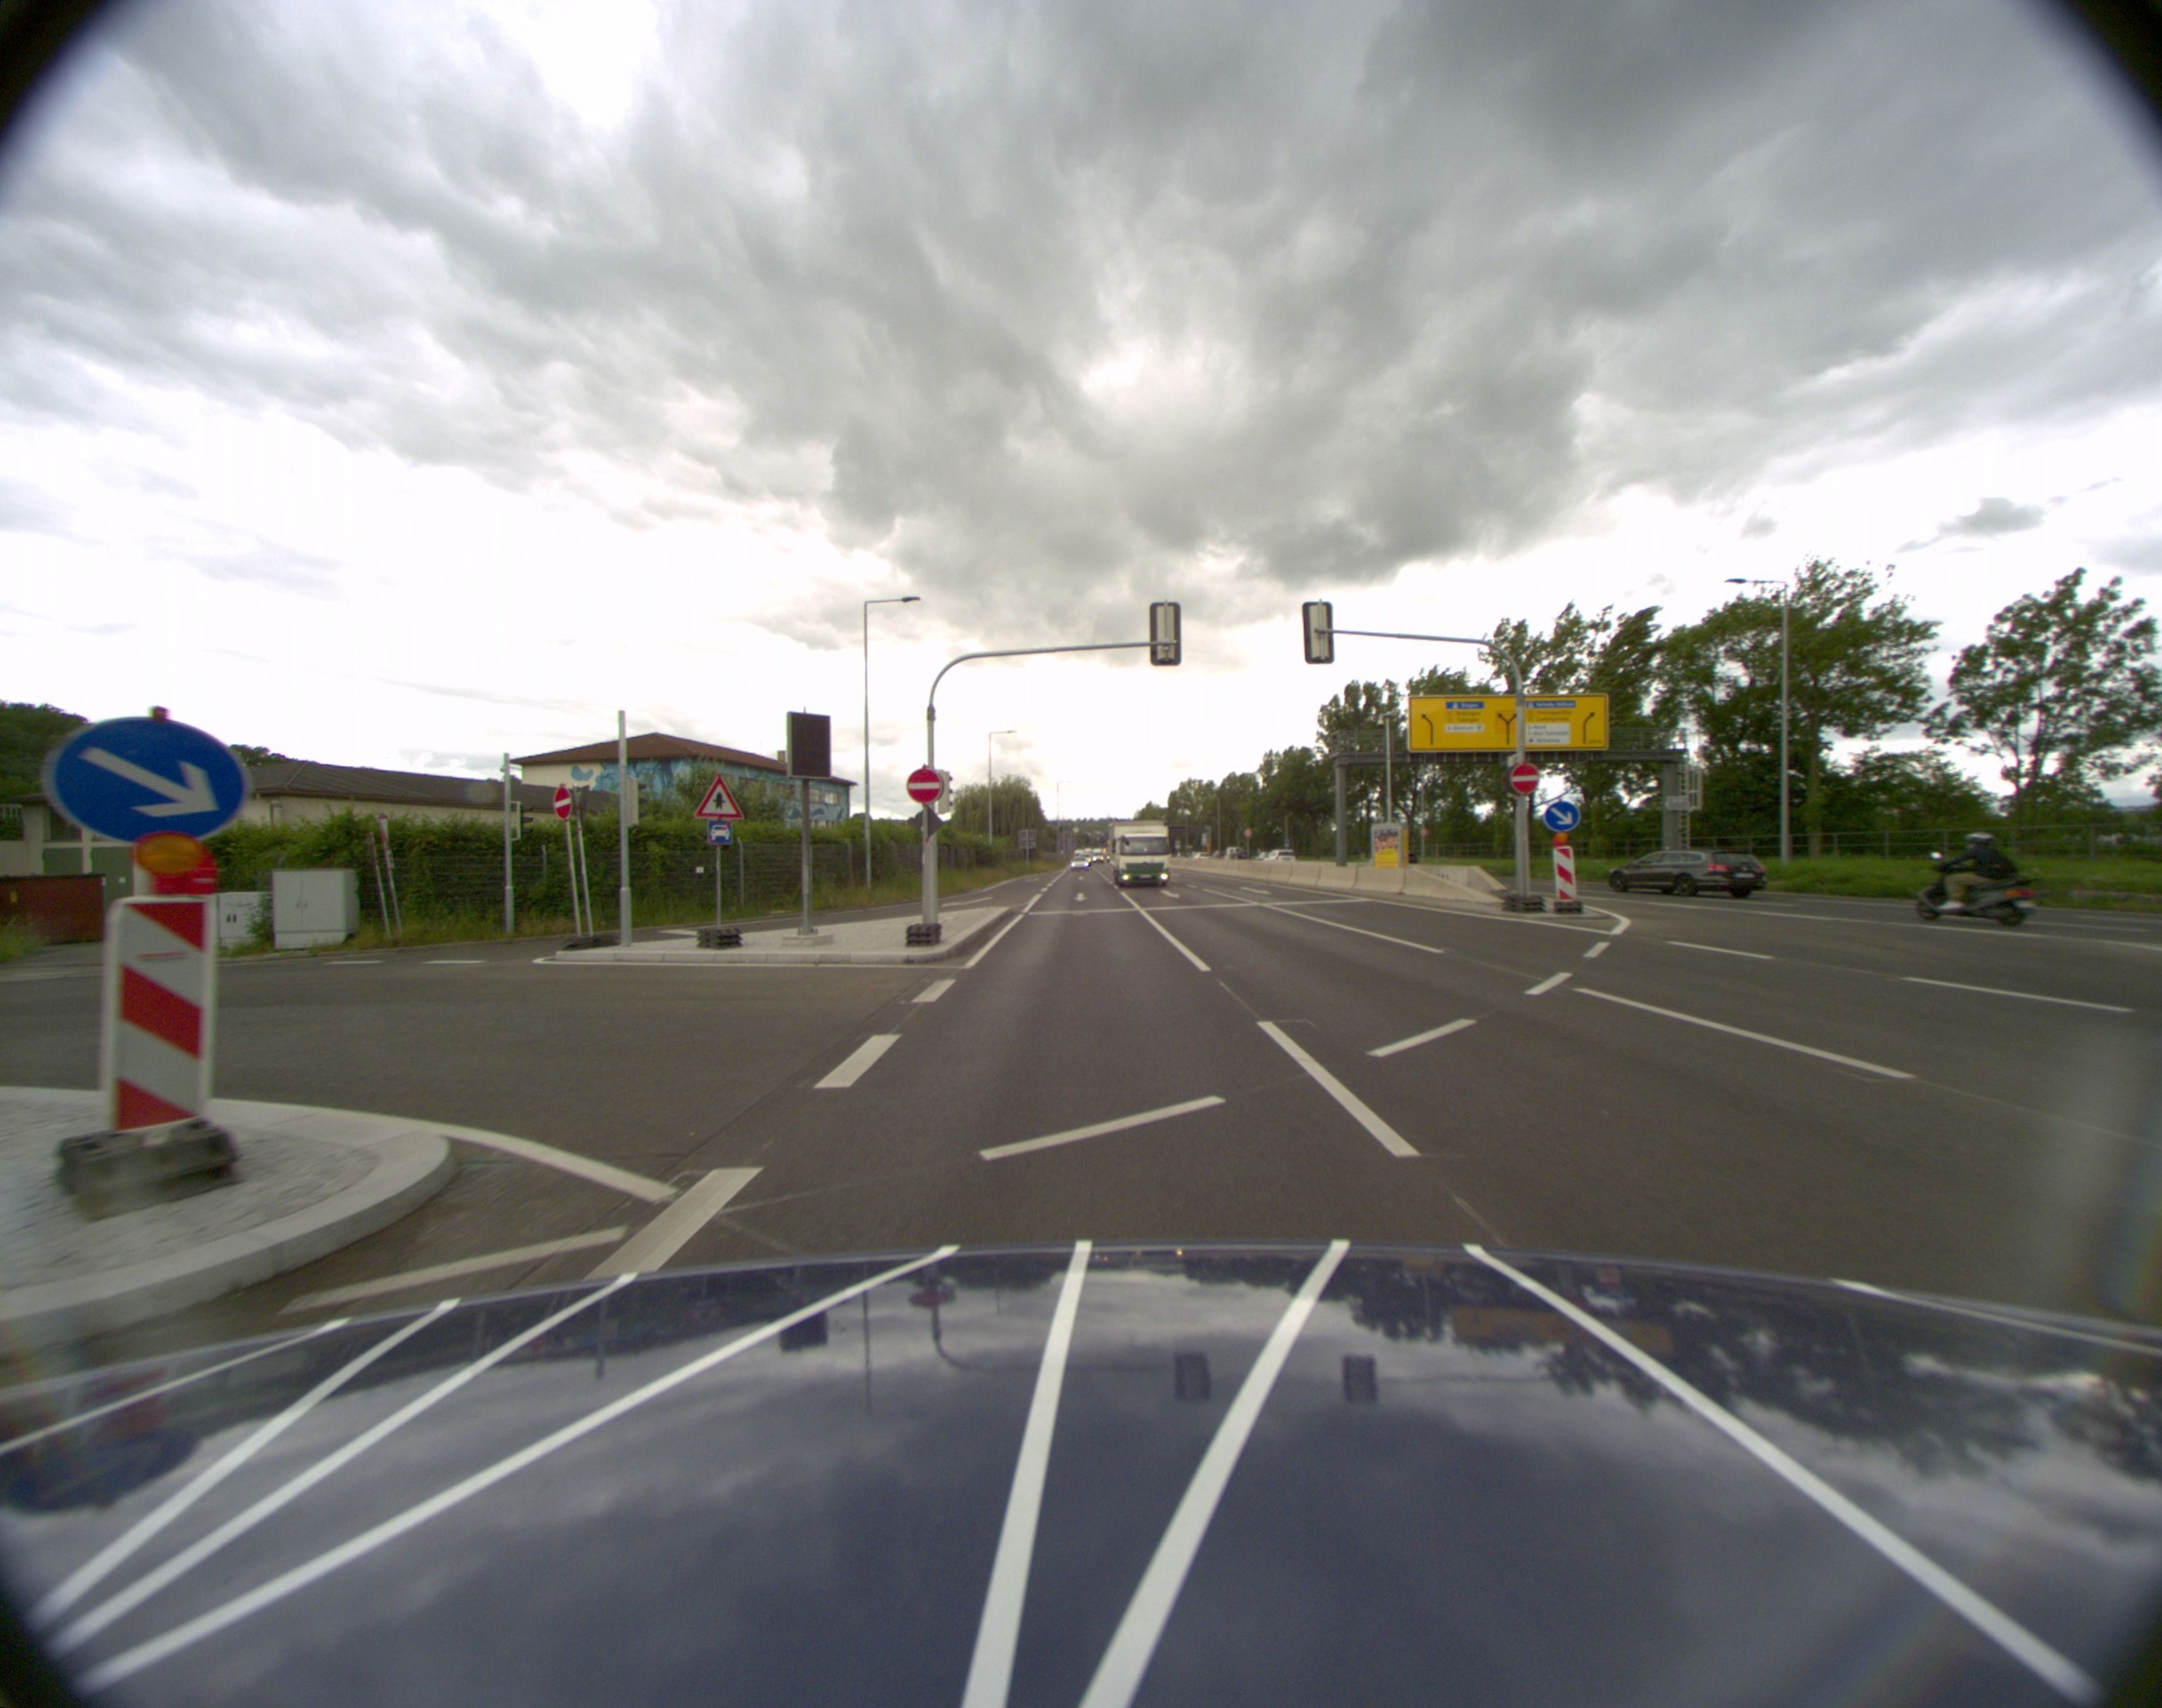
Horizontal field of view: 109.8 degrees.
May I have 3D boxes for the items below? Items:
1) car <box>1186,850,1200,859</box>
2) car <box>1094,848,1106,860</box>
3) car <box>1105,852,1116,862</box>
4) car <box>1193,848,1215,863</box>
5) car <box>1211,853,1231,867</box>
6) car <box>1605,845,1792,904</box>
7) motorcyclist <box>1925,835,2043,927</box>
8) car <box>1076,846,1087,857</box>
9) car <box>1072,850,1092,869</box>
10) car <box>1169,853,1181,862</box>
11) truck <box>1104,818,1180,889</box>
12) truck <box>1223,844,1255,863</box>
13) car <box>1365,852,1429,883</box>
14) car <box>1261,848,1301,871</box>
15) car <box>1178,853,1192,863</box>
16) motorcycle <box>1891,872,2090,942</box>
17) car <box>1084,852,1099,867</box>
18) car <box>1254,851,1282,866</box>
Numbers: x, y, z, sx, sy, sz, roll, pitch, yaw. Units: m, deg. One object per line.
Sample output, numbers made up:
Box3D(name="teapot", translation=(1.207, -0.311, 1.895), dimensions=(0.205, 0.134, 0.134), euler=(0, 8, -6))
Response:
Box3D(name="car", translation=(21.292, 0.073, 144.421), dimensions=(1.882, 1.673, 4.122), euler=(-3, 0, 0))
Box3D(name="car", translation=(3.512, 0.052, 138.701), dimensions=(1.999, 2.002, 4.000), euler=(-3, 0, 0))
Box3D(name="car", translation=(5.820, 0.586, 152.437), dimensions=(1.998, 2.002, 4.000), euler=(-3, 0, 0))
Box3D(name="car", translation=(15.359, 0.204, 95.125), dimensions=(1.999, 1.658, 4.695), euler=(-3, 0, 0))
Box3D(name="car", translation=(21.344, 0.936, 116.133), dimensions=(1.998, 2.002, 4.936), euler=(-3, 0, 0))
Box3D(name="car", translation=(18.866, 0.598, 23.559), dimensions=(1.999, 1.541, 4.567), euler=(-3, 0, -1))
Box3D(name="motorcyclist", translation=(15.905, 0.453, 13.412), dimensions=(0.915, 1.513, 0.980), euler=(-3, 2, 0))
Box3D(name="car", translation=(0.145, -0.399, 147.267), dimensions=(1.999, 2.002, 4.000), euler=(-3, 0, 0))
Box3D(name="car", translation=(0.096, 0.592, 80.122), dimensions=(1.999, 1.849, 4.000), euler=(-3, 0, 0))
Box3D(name="car", translation=(20.470, 0.785, 165.964), dimensions=(1.999, 1.728, 4.469), euler=(-3, 0, -1))
Box3D(name="truck", translation=(2.876, 0.020, 38.474), dimensions=(2.943, 3.064, 8.386), euler=(-3, 0, -1))
Box3D(name="truck", translation=(18.253, -0.035, 88.304), dimensions=(2.210, 2.002, 6.301), euler=(-3, 0, -1))
Box3D(name="car", translation=(19.144, 0.791, 46.216), dimensions=(1.999, 1.647, 4.287), euler=(-3, 0, 0))
Box3D(name="car", translation=(15.920, 0.443, 60.714), dimensions=(1.999, 1.674, 4.412), euler=(-3, 0, 0))
Box3D(name="car", translation=(17.958, 0.741, 131.532), dimensions=(1.882, 1.673, 4.126), euler=(-3, 0, 0))
Box3D(name="motorcycle", translation=(15.913, 0.881, 13.410), dimensions=(0.915, 0.983, 2.163), euler=(-3, 2, 0))
Box3D(name="car", translation=(1.448, 0.767, 109.894), dimensions=(1.999, 2.002, 4.000), euler=(-3, 0, 0))
Box3D(name="car", translation=(21.498, 0.515, 87.403), dimensions=(1.999, 1.674, 4.412), euler=(-3, 0, 0))
